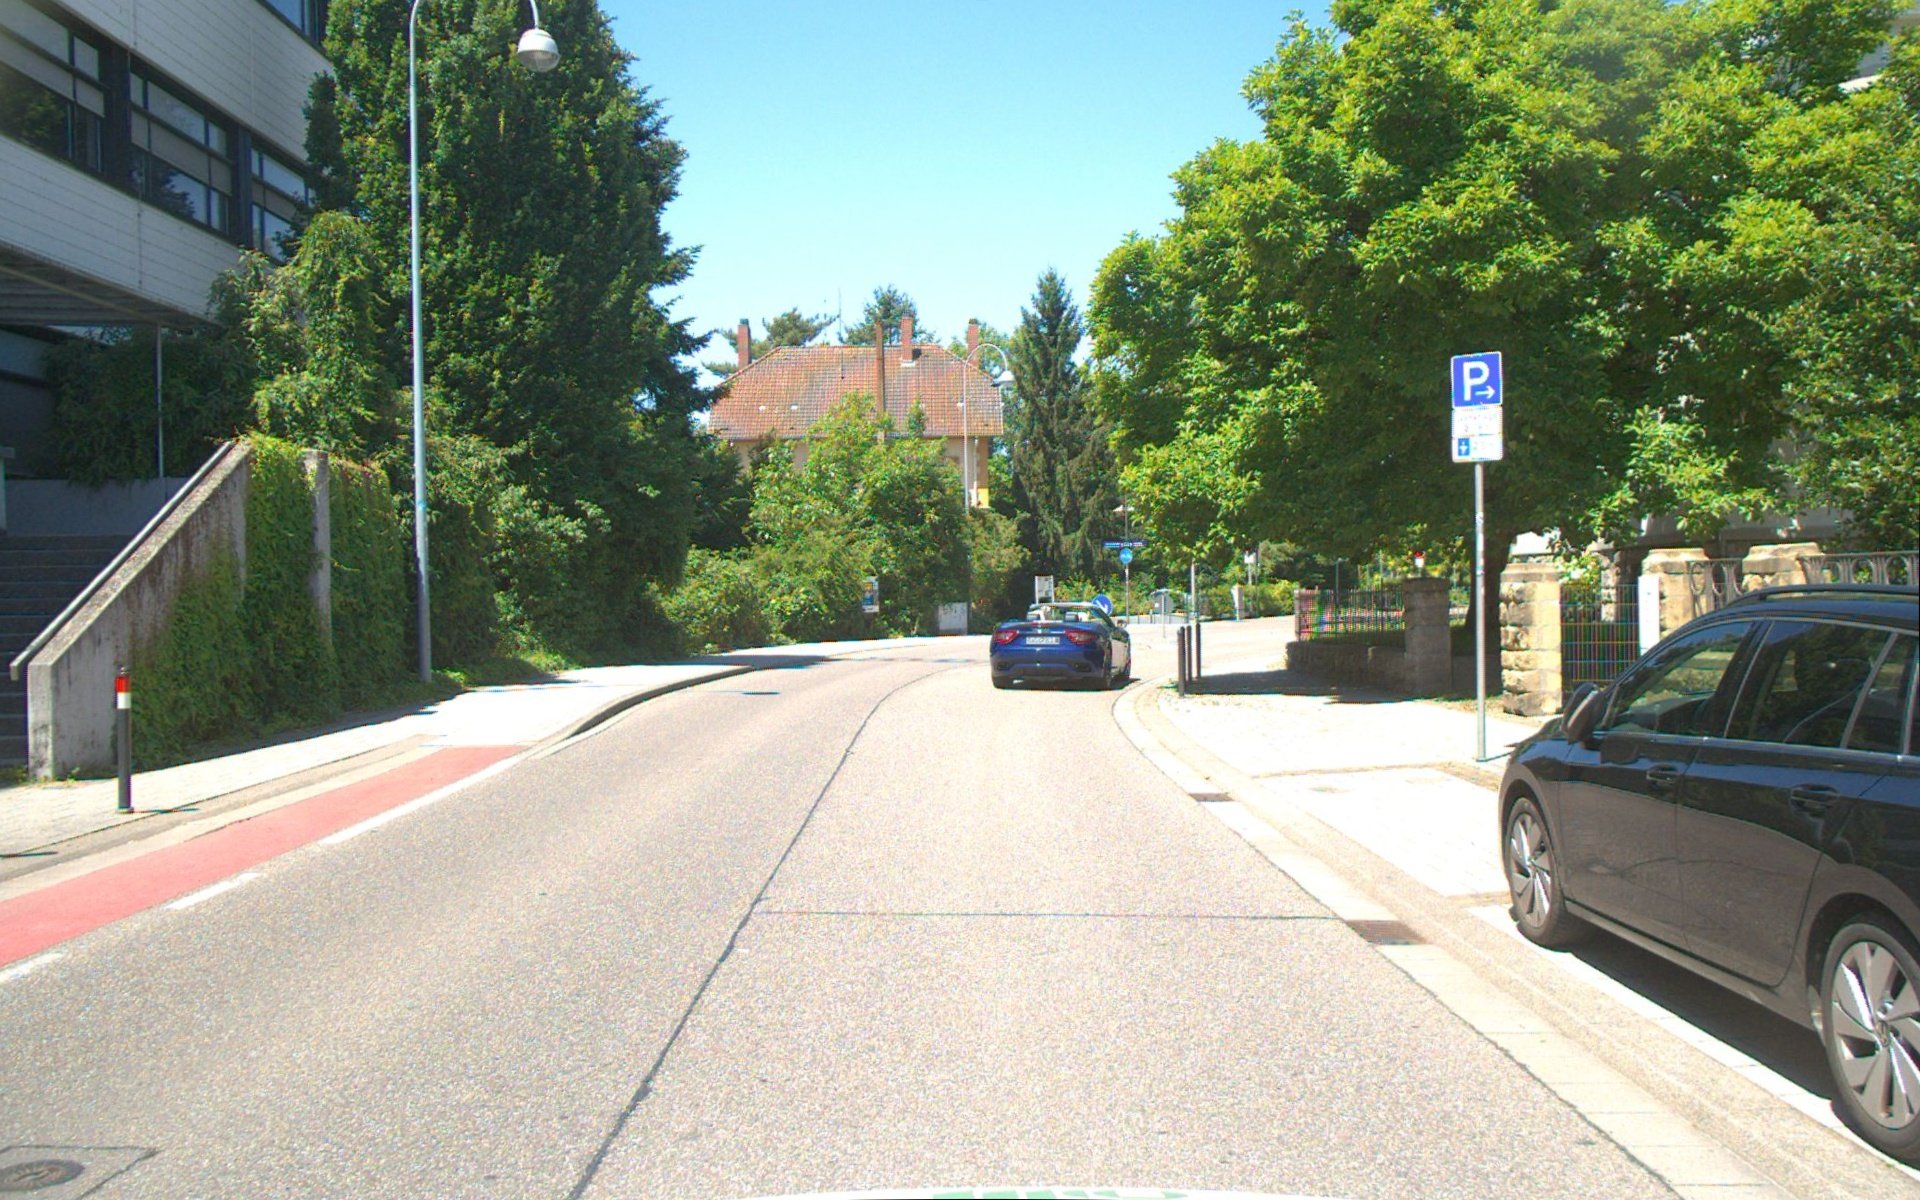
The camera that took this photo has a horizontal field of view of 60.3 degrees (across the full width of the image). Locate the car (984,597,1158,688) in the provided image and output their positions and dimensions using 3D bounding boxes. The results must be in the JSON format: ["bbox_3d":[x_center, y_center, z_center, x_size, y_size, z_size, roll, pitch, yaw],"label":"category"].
[{"bbox_3d":[1.937,0.638,27.335,1.788,1.360,4.702,0,0,18],"label":"car"}]

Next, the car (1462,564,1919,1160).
[{"bbox_3d":[3.205,0.644,5.529,1.599,1.471,4.397,-4,0,-1],"label":"car"}]
